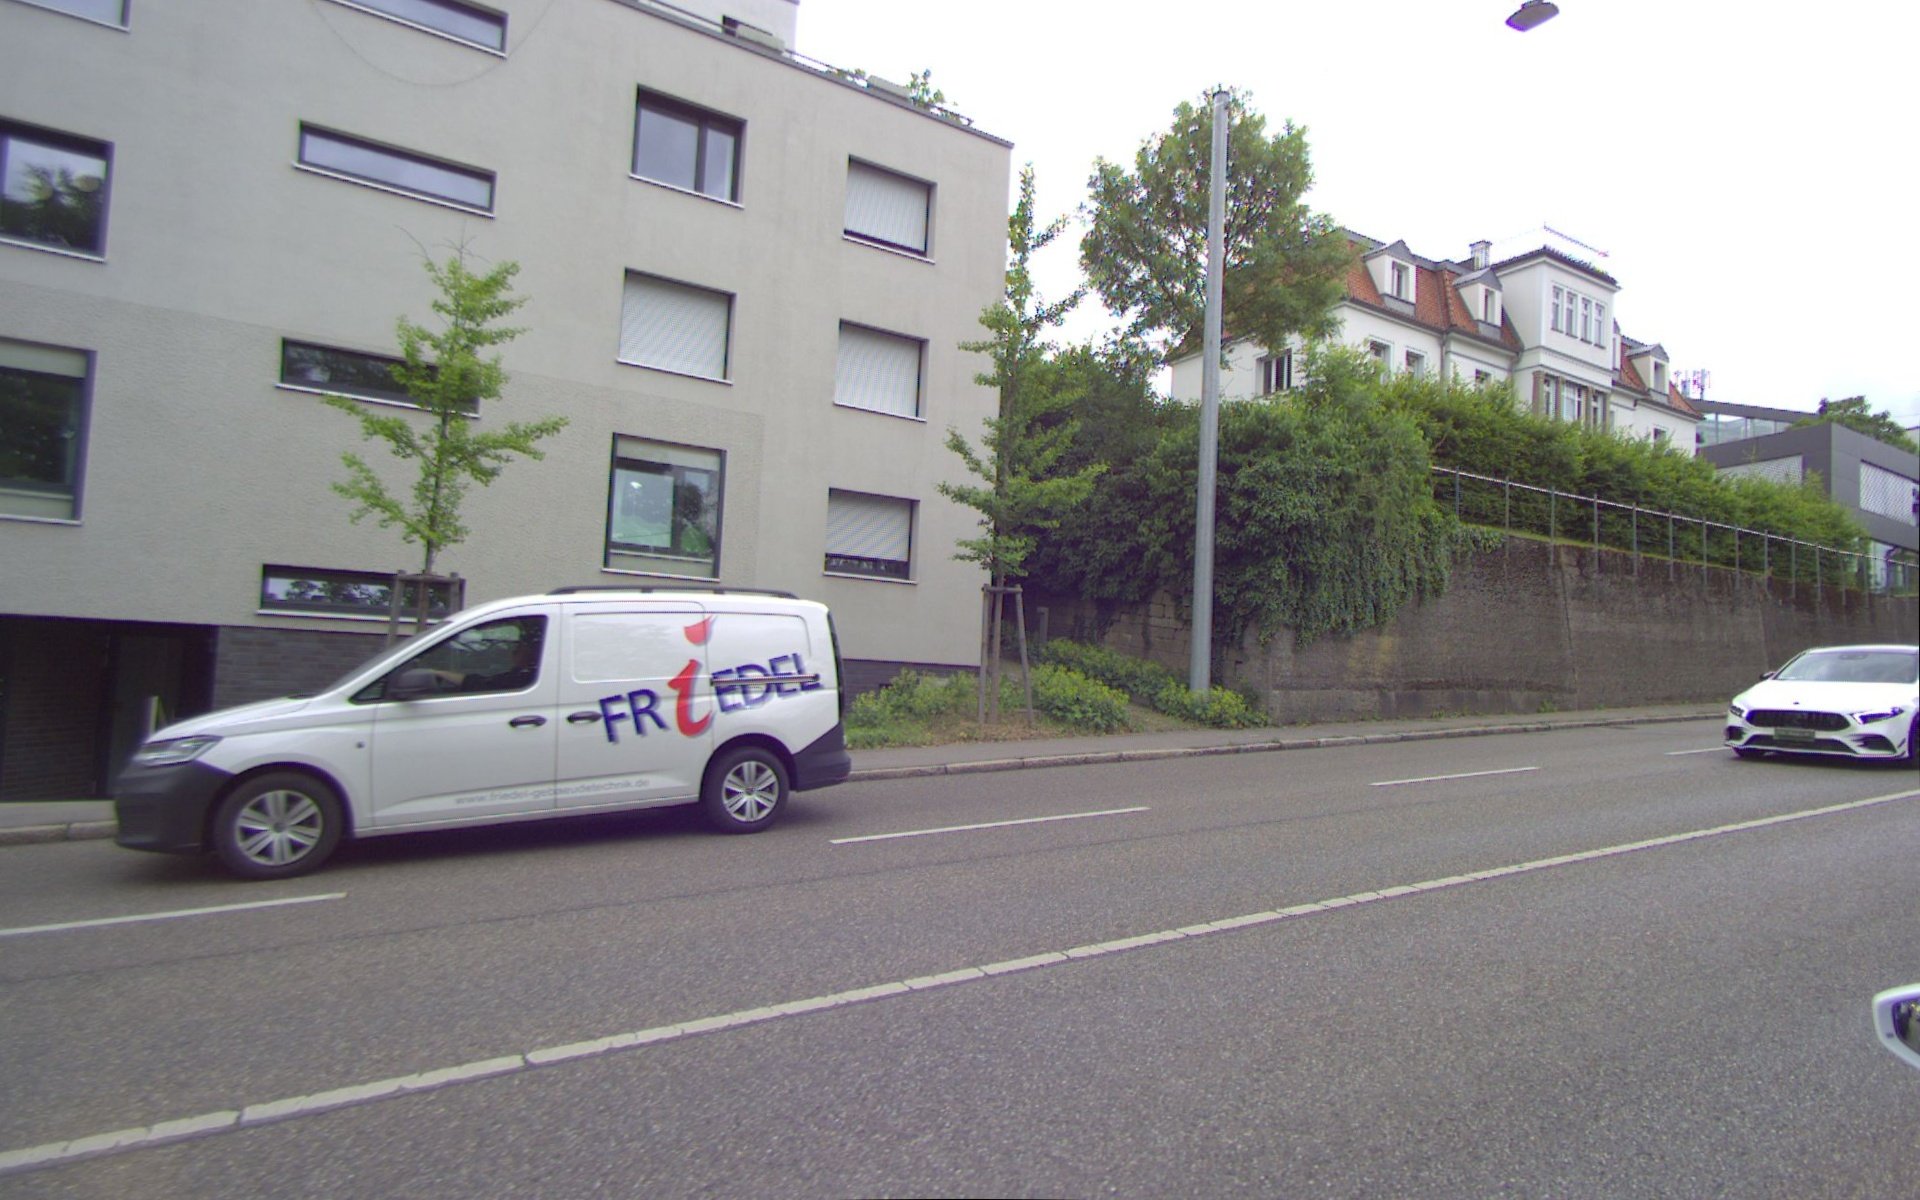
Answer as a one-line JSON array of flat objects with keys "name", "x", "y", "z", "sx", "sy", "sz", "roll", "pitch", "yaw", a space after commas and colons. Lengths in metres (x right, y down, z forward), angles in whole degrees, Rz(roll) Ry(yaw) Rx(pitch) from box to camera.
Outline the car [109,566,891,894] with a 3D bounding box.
[{"name": "car", "x": -3.044, "y": 0.805, "z": 7.545, "sx": 4.810, "sy": 1.812, "sz": 1.725, "roll": 1, "pitch": -3, "yaw": -30}]

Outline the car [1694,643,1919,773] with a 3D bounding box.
[{"name": "car", "x": 11.482, "y": 1.268, "z": 12.806, "sx": 4.410, "sy": 1.404, "sz": 1.807, "roll": 1, "pitch": -4, "yaw": -30}]
